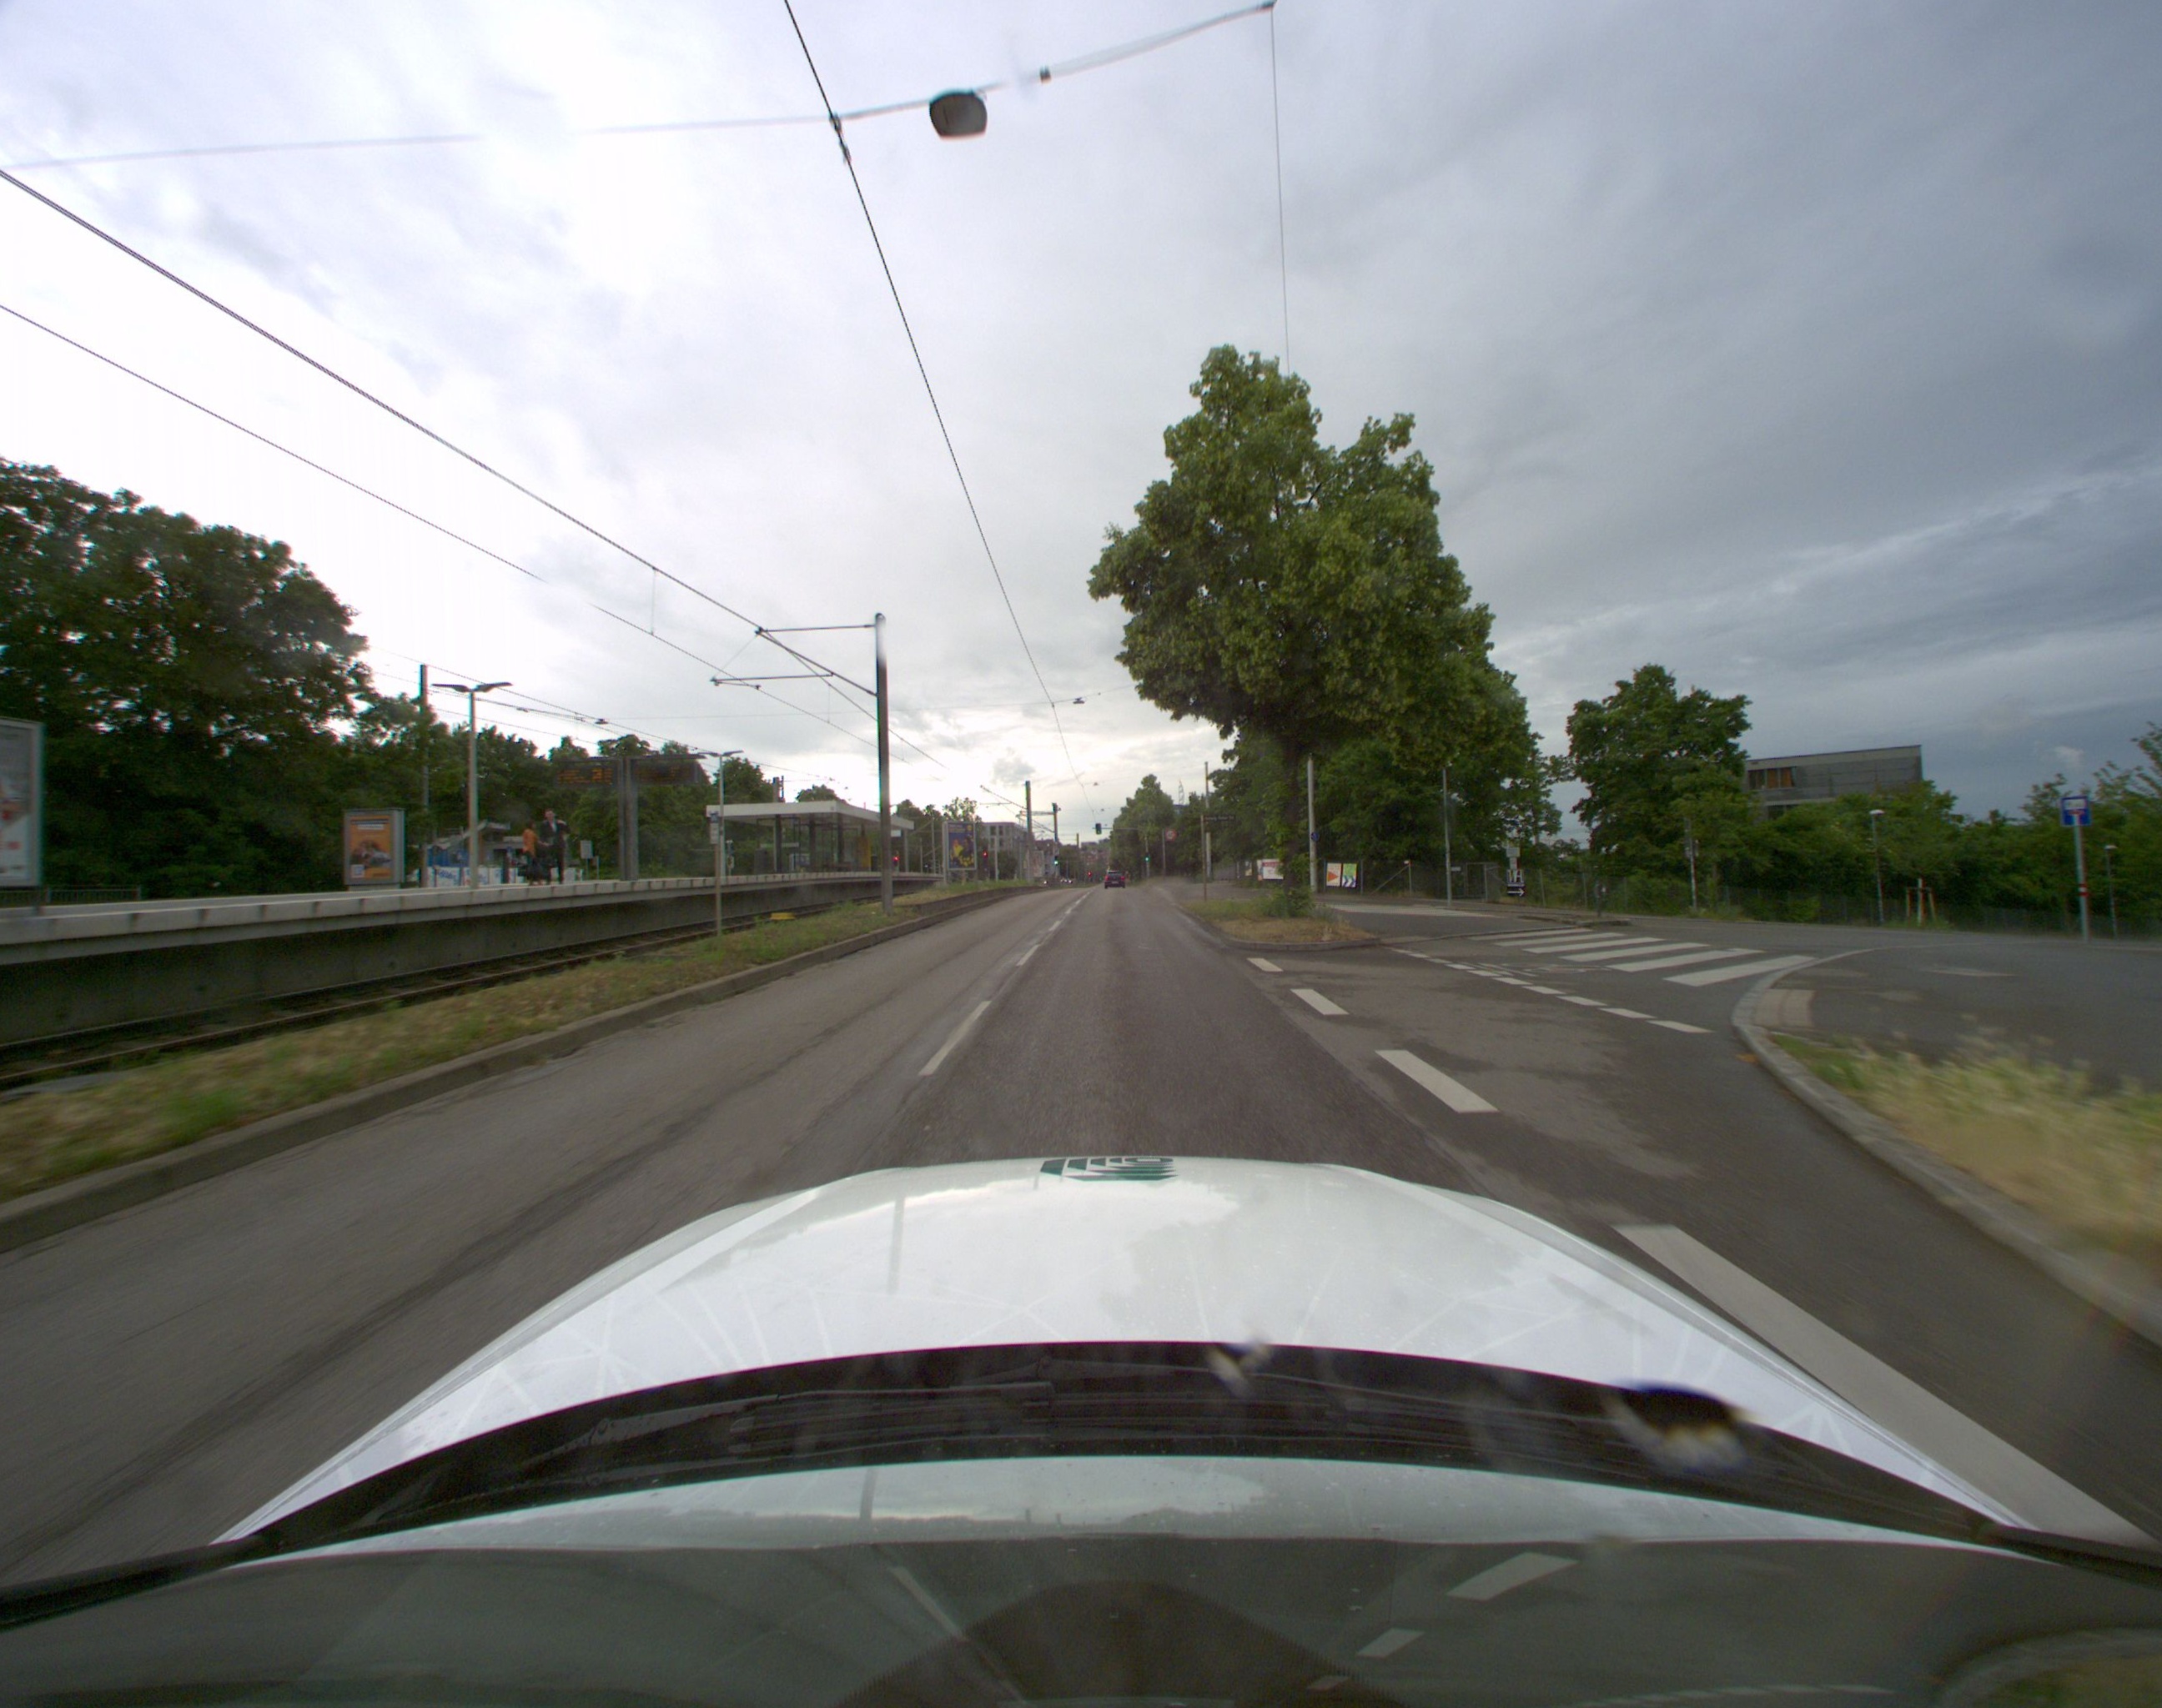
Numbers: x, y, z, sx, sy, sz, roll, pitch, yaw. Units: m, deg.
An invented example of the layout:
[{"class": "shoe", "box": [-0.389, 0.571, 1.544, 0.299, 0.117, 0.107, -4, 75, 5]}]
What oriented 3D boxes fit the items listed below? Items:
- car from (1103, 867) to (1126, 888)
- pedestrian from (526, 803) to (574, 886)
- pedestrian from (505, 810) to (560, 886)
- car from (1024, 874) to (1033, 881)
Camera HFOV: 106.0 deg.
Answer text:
[{"class": "car", "box": [2.708, 1.889, 65.968, 1.720, 1.540, 4.002, -2, 0, 2]}, {"class": "pedestrian", "box": [-12.524, -0.240, 19.230, 0.745, 1.909, 0.836, 0, 1, -20]}, {"class": "pedestrian", "box": [-12.346, -0.143, 18.355, 0.797, 1.647, 0.913, 0, 1, -20]}, {"class": "car", "box": [-14.711, 6.580, 228.481, 1.840, 1.632, 3.616, 1, 0, 7]}]
